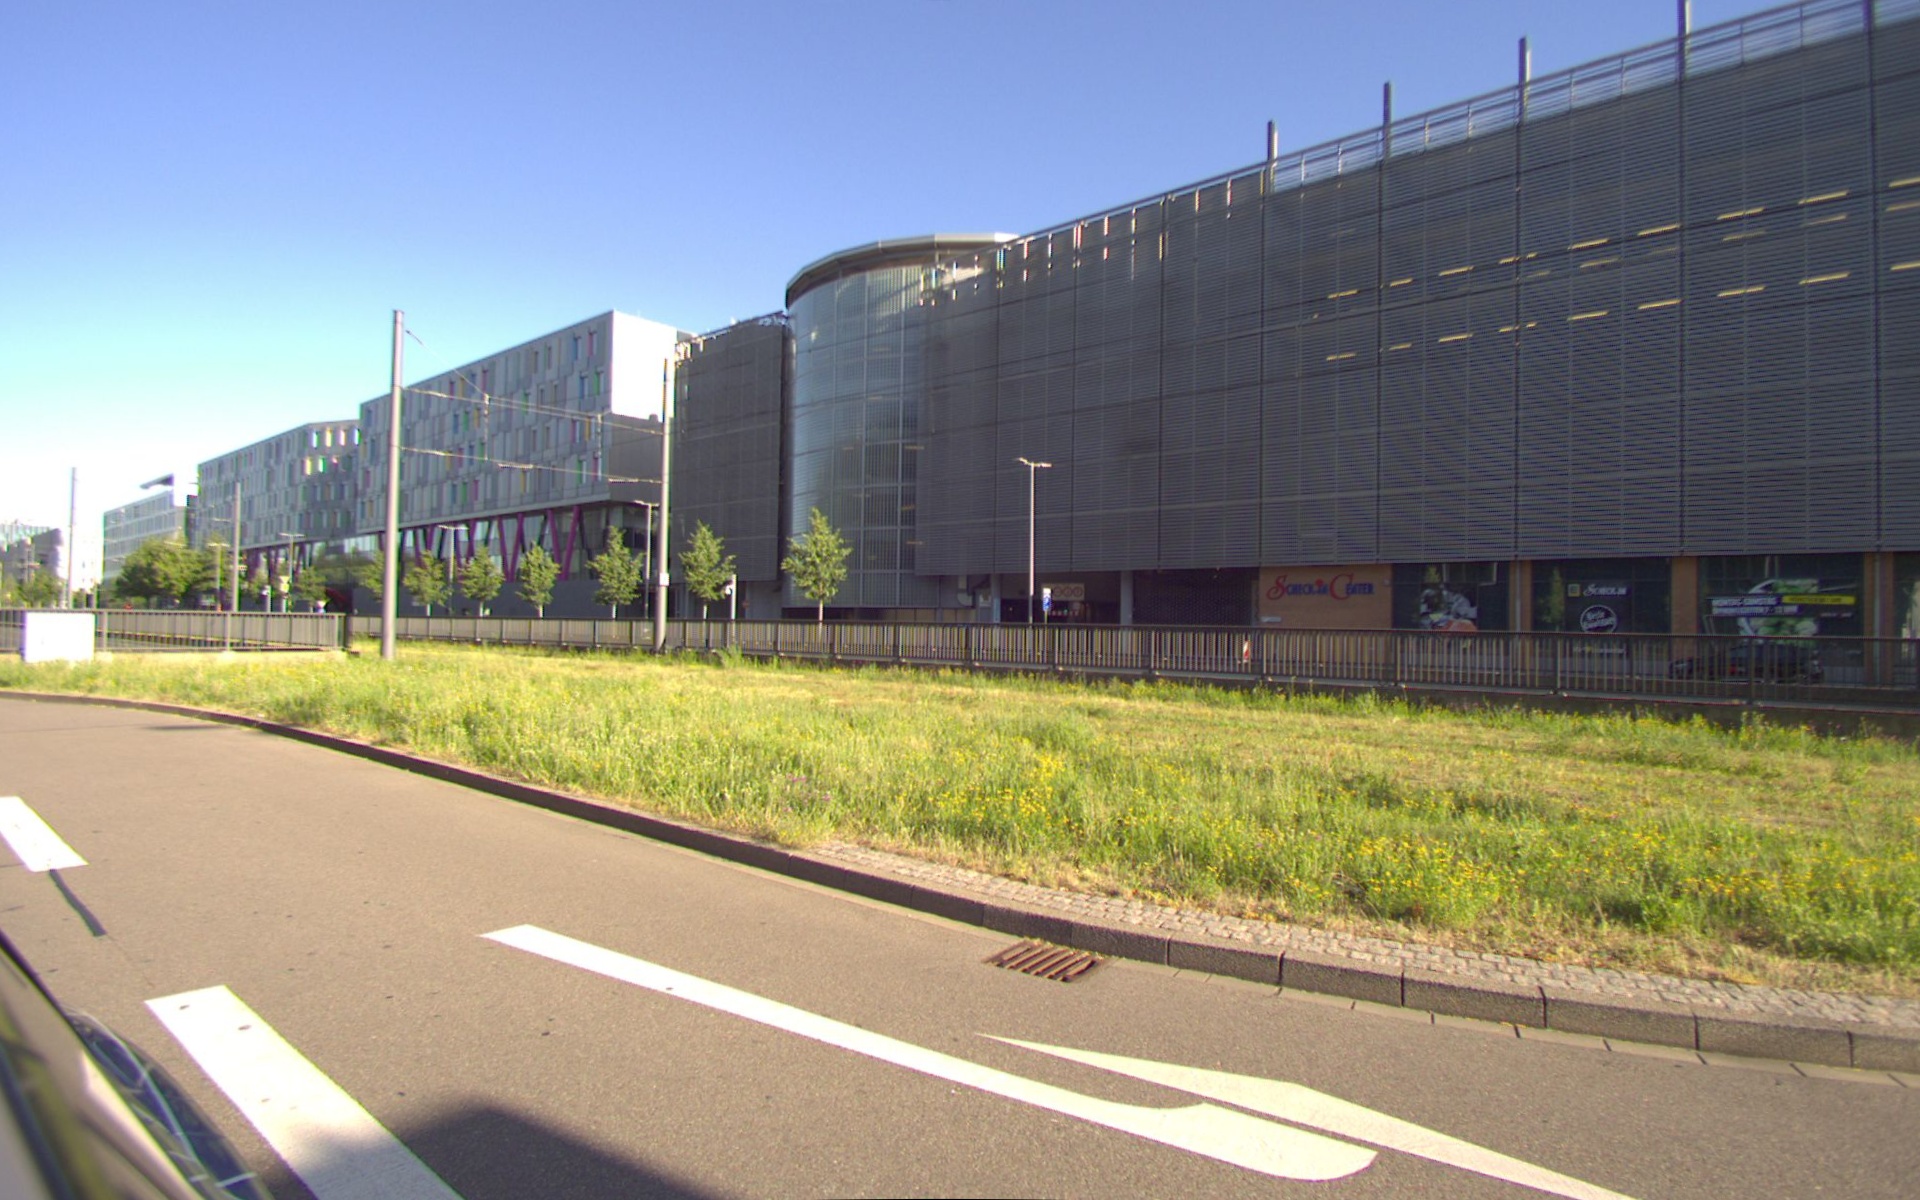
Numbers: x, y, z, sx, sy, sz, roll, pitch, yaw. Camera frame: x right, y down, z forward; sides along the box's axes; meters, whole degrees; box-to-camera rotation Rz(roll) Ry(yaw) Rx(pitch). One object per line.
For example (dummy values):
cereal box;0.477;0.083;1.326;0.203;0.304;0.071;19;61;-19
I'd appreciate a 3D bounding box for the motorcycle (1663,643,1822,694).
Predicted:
motorcycle;25.391;2.175;32.901;3.998;1.464;1.973;-1;-3;41
